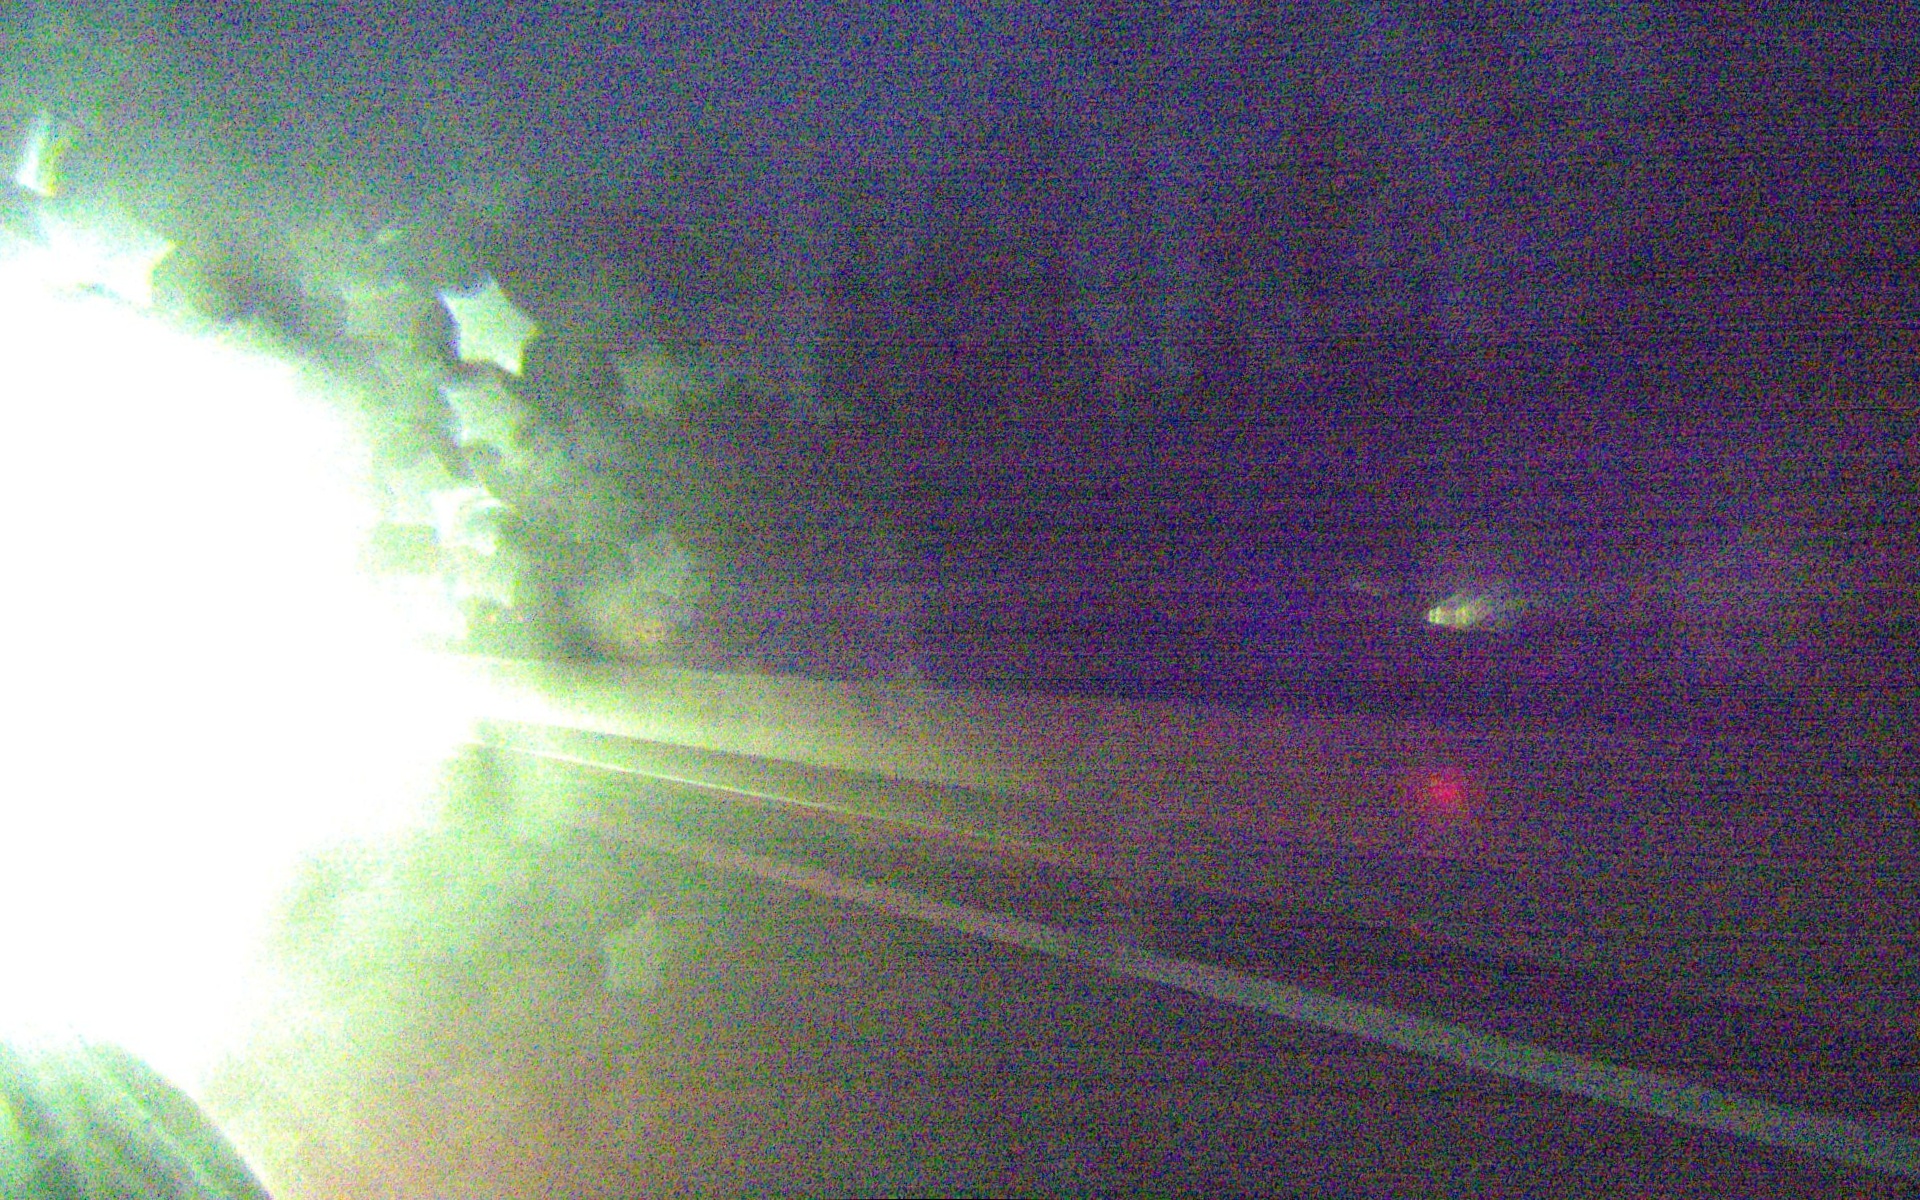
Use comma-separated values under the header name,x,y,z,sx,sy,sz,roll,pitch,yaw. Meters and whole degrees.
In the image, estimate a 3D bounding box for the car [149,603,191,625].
name,x,y,z,sx,sy,sz,roll,pitch,yaw
car,-61.738,1.097,79.062,4.002,1.489,1.971,-3,2,45

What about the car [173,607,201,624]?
name,x,y,z,sx,sy,sz,roll,pitch,yaw
car,-83.088,1.634,108.740,1.970,1.616,4.004,-6,2,-43
